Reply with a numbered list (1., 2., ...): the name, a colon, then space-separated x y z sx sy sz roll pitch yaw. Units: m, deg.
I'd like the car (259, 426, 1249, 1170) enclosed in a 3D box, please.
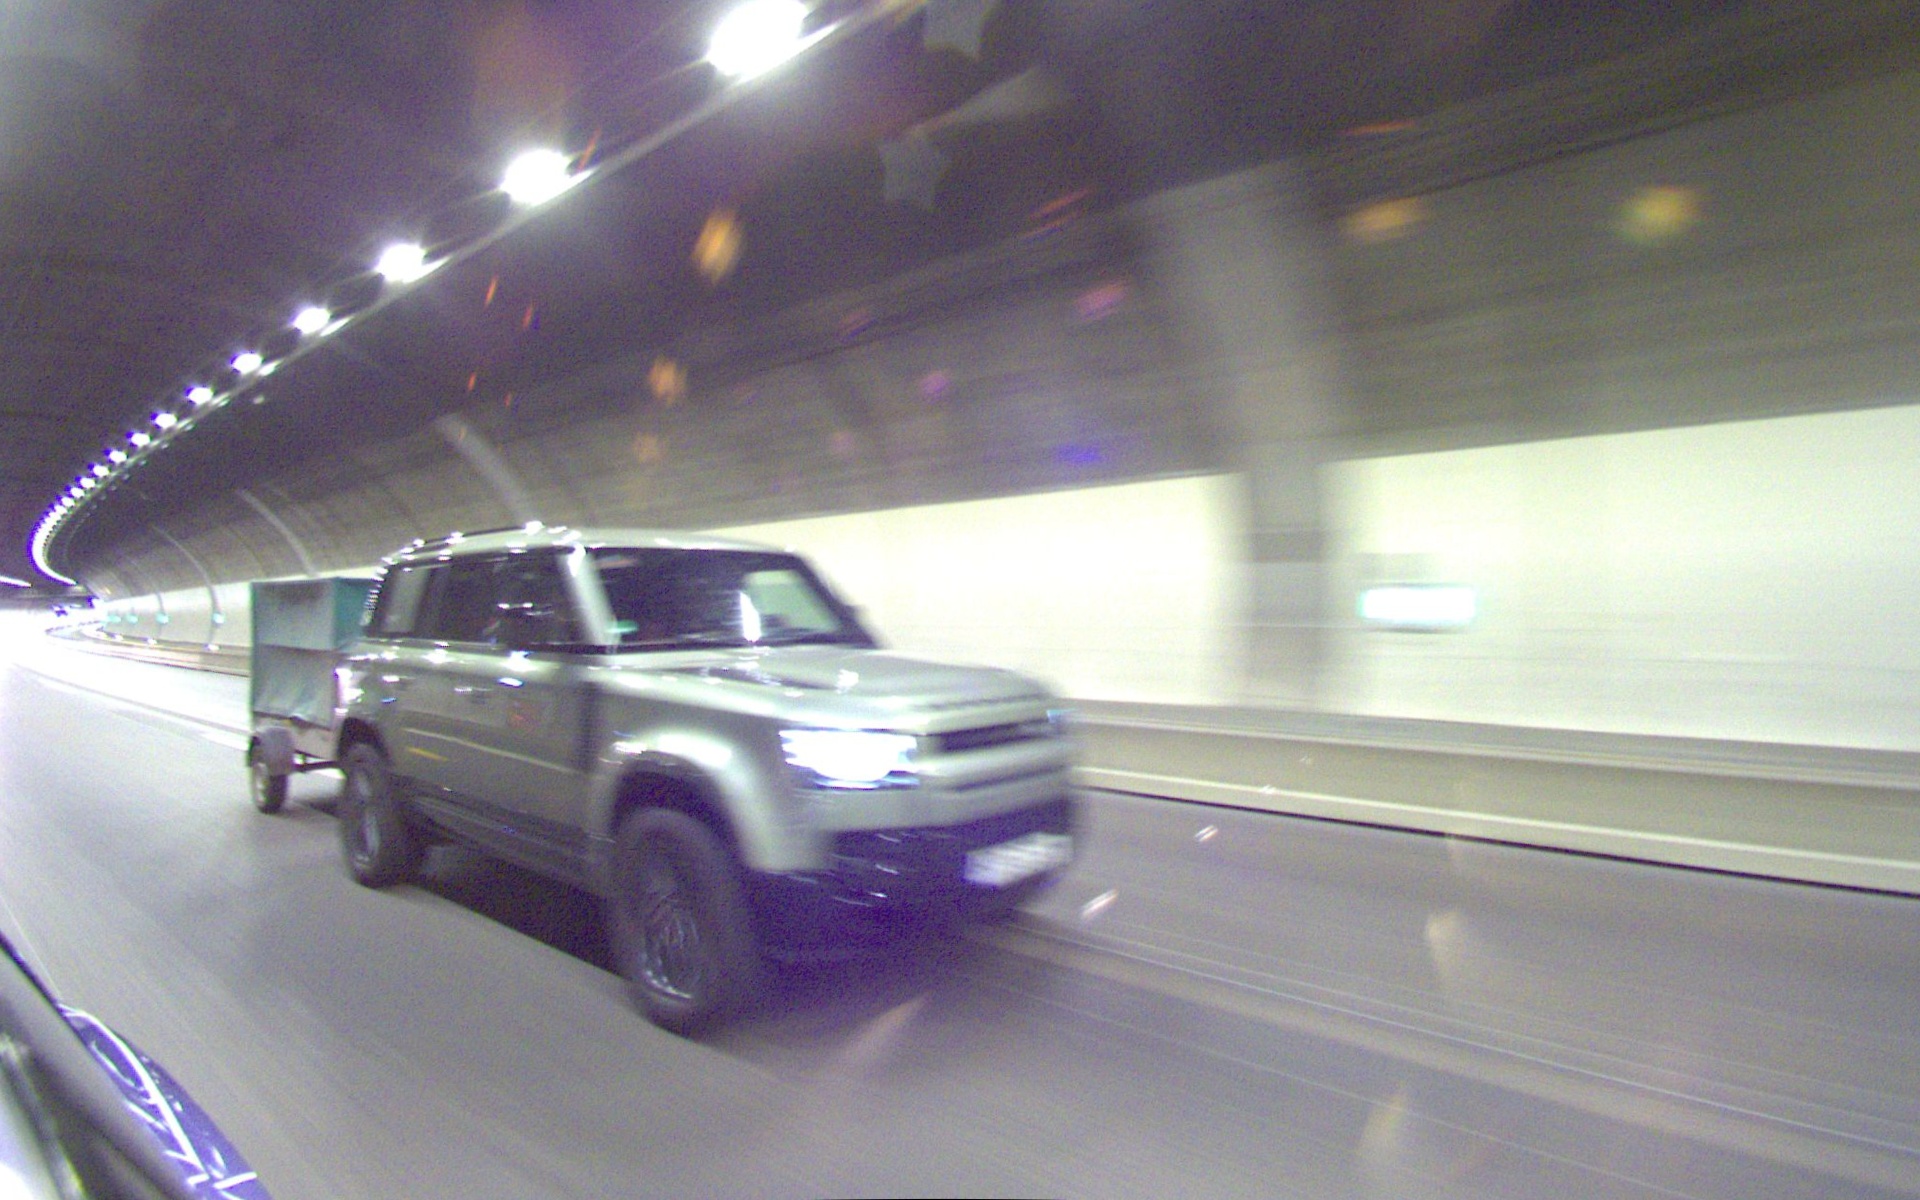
1. car: -1.537 0.537 5.128 5.449 1.909 1.973 -1 0 40
